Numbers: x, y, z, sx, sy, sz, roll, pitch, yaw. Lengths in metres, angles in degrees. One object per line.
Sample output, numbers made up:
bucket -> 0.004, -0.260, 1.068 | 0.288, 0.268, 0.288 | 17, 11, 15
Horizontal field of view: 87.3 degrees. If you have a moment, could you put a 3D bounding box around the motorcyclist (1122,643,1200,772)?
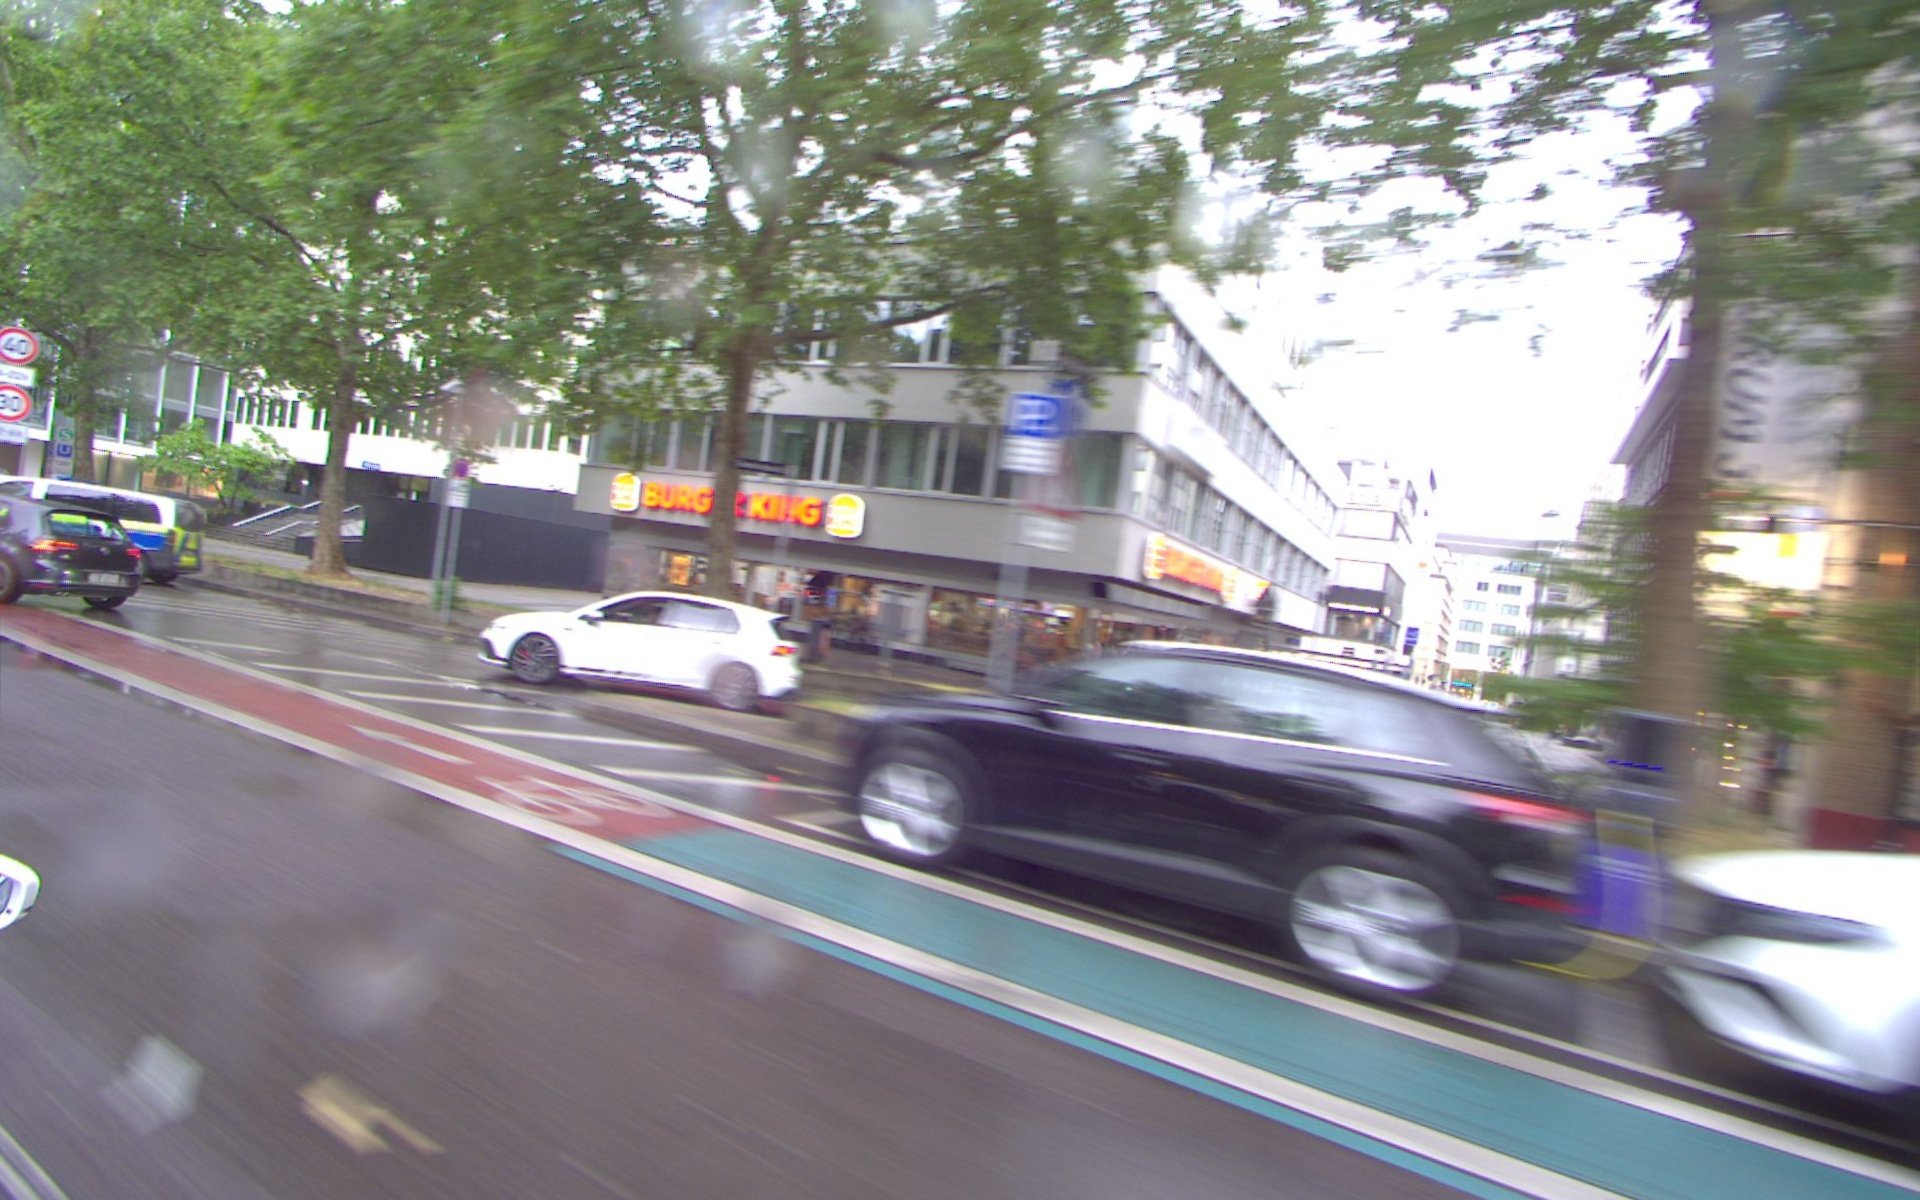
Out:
motorcyclist -> 2.896, 1.516, 14.436 | 0.855, 1.664, 0.850 | 8, 0, 13

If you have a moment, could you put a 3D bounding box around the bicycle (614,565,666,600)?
bicycle -> -13.859, -0.761, 43.561 | 2.249, 1.187, 0.687 | 8, 0, 31

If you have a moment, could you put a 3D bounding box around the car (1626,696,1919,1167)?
car -> 5.278, 1.505, 3.724 | 4.332, 1.604, 1.757 | 8, -1, 27

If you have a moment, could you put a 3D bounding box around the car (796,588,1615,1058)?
car -> 1.338, 1.057, 6.294 | 4.348, 1.621, 1.797 | 7, -2, 30

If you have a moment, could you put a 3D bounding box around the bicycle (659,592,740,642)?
bicycle -> -6.299, 0.404, 24.272 | 1.880, 0.935, 0.642 | 8, 4, 27

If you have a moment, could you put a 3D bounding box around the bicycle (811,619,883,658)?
bicycle -> -3.220, 1.098, 28.633 | 1.878, 0.829, 0.643 | 8, 0, 23

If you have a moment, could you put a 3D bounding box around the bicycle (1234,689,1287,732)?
bicycle -> 7.579, 2.781, 25.307 | 0.615, 0.948, 1.969 | 8, -1, 35

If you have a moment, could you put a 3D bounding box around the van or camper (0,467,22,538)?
van or camper -> -29.947, -3.139, 28.218 | 4.791, 2.022, 1.858 | 8, -1, -23

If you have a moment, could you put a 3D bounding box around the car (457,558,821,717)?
car -> -4.251, 0.530, 14.026 | 4.433, 1.461, 1.866 | 8, -2, -8

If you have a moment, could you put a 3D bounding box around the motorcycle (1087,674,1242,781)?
motorcycle -> 2.929, 1.793, 14.429 | 1.983, 1.156, 0.869 | 8, 0, 13

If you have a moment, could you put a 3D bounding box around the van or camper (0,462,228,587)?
van or camper -> -18.760, -1.641, 21.163 | 4.882, 2.015, 1.993 | 9, -1, -21

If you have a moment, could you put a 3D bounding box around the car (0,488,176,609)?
car -> -13.527, -0.854, 13.887 | 3.926, 1.430, 1.771 | 8, 0, 2

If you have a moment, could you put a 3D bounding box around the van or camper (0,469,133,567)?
van or camper -> -24.024, -2.236, 24.803 | 5.024, 2.042, 1.987 | 9, -1, -23

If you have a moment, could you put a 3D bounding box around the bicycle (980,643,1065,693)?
bicycle -> 1.602, 1.739, 25.913 | 2.040, 0.907, 0.583 | 10, 4, 29
